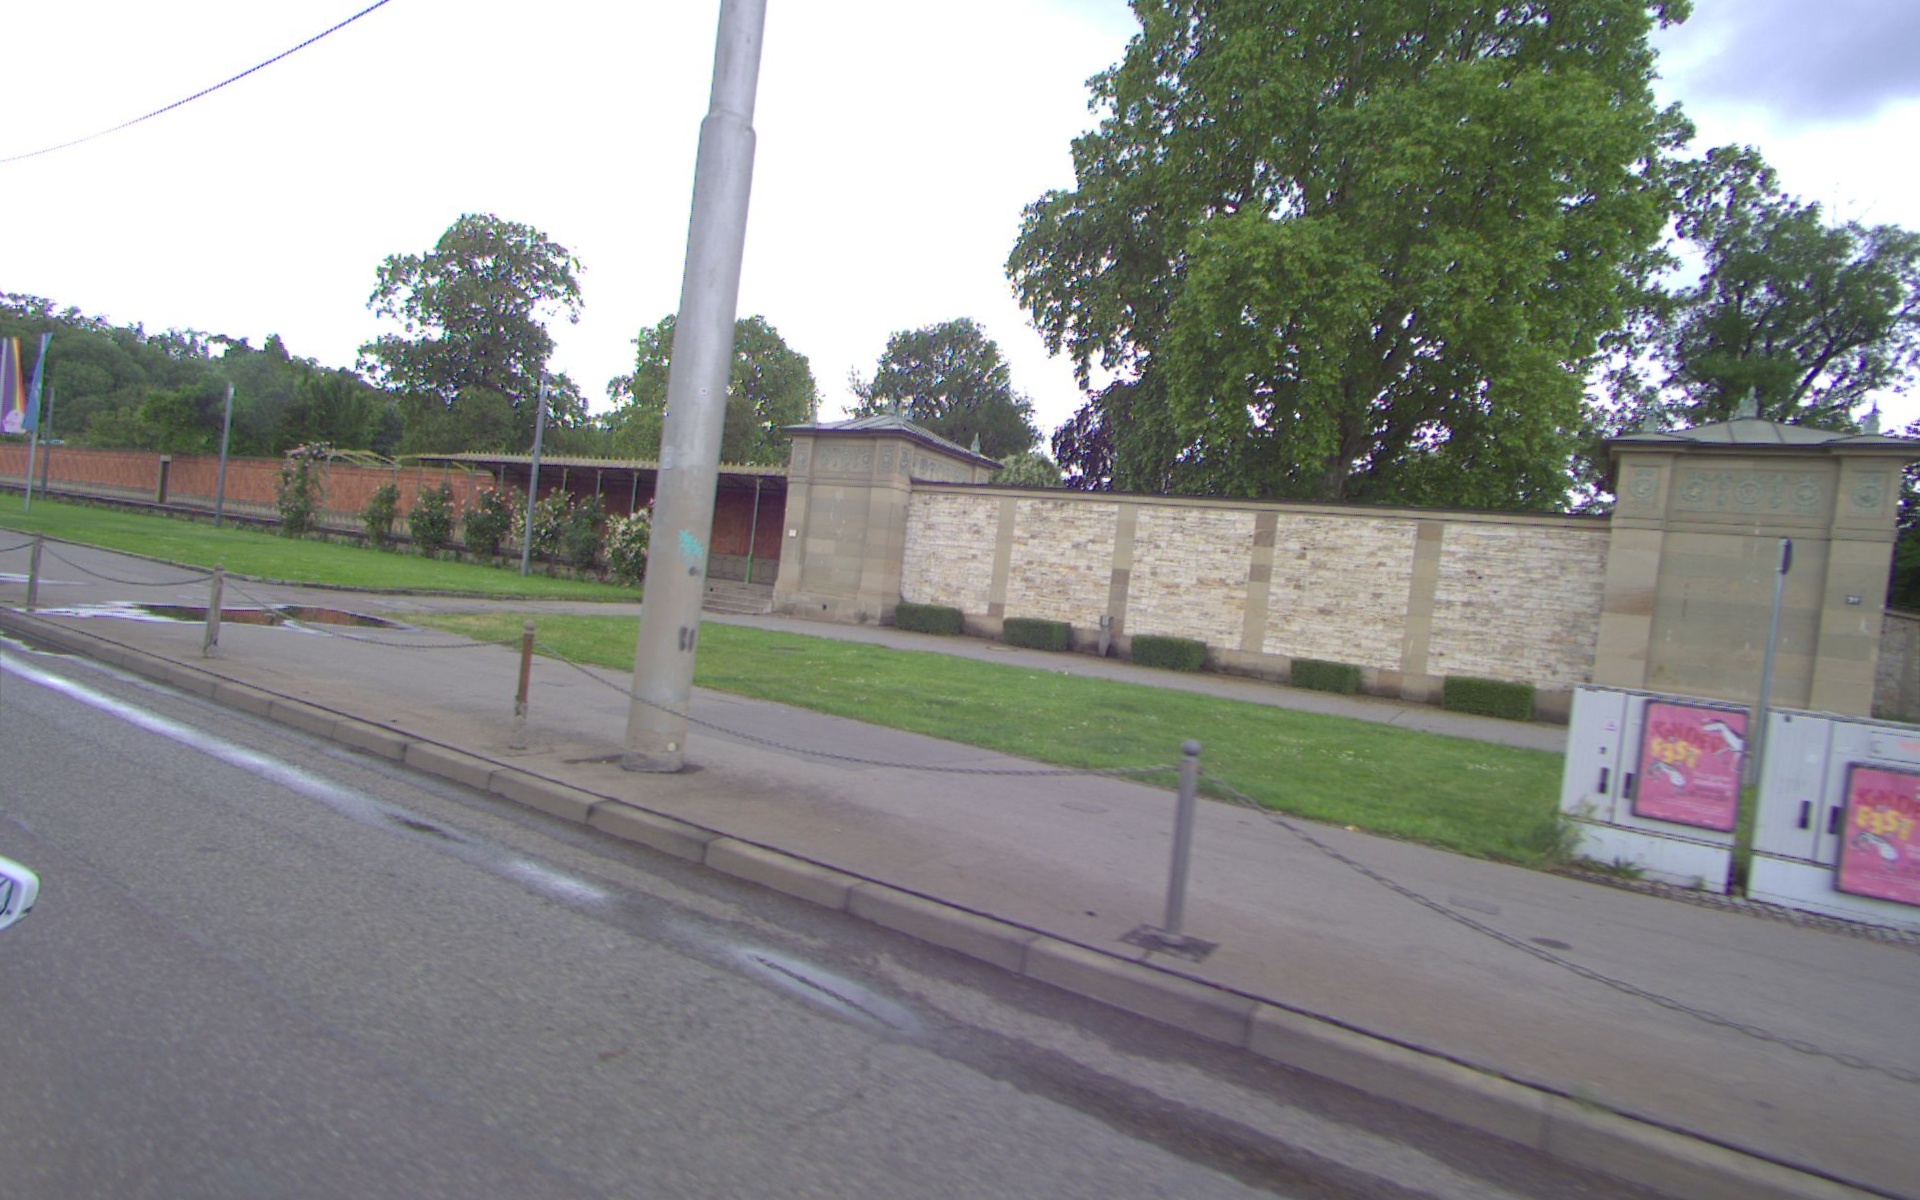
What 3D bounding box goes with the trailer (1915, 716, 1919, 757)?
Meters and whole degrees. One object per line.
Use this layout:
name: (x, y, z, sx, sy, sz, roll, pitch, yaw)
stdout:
trailer: (25.952, 2.687, 23.044, 1.932, 2.889, 5.459, 8, -1, -16)
